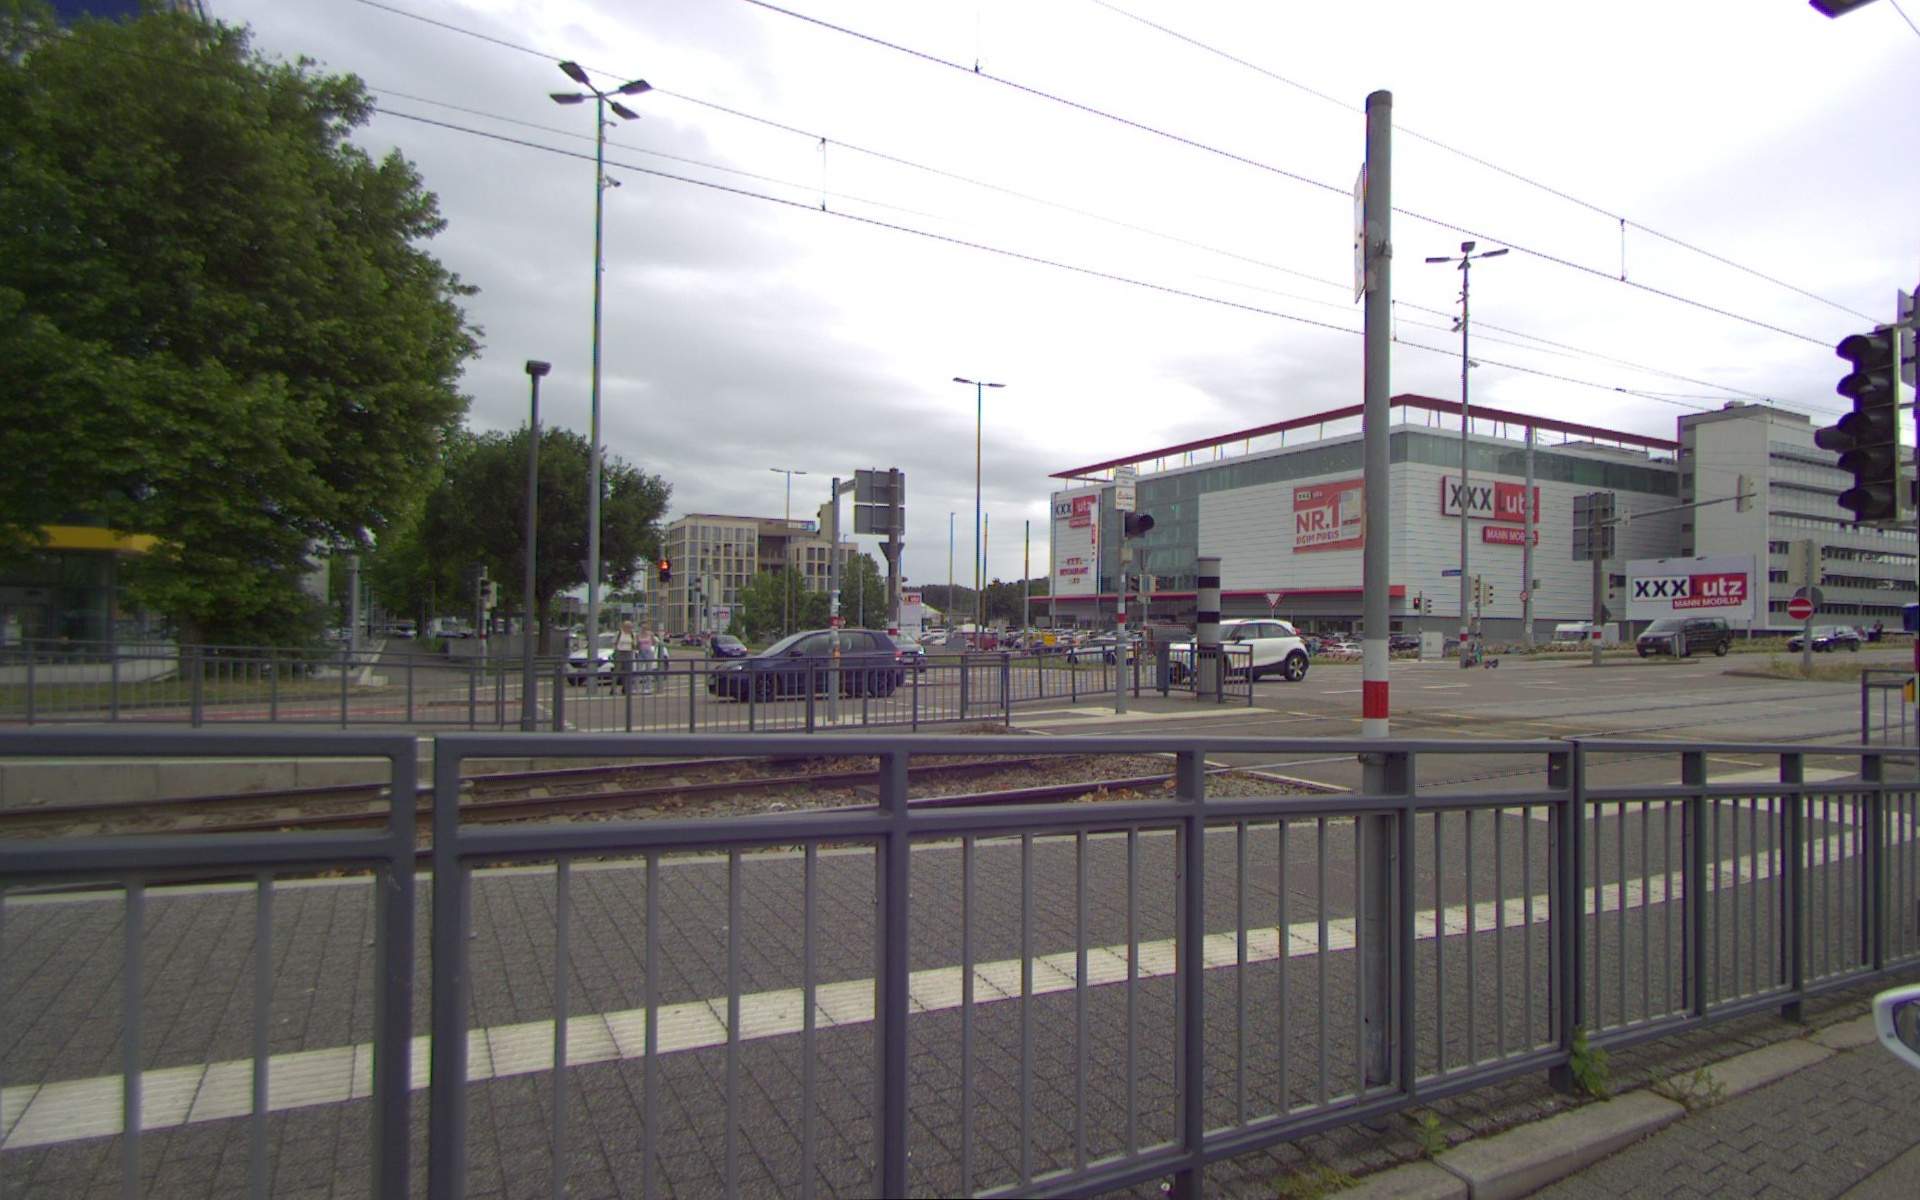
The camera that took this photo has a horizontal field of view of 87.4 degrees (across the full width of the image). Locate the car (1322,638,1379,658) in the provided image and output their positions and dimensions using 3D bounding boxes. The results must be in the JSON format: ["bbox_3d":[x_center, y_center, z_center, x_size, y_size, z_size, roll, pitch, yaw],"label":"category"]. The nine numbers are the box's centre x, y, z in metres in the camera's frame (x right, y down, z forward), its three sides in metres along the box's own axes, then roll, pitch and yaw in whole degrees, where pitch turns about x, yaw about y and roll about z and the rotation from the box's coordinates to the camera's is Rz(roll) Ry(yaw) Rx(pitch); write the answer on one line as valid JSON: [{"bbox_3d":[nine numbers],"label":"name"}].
[{"bbox_3d":[29.802,3.655,76.592,4.155,1.495,1.734,1,-2,-26],"label":"car"}]

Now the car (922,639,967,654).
[{"bbox_3d":[-1.595,4.795,104.196,4.331,1.480,1.948,2,-2,-26],"label":"car"}]

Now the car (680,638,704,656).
[{"bbox_3d":[-31.504,5.514,118.164,1.974,2.040,3.973,0,-1,-27],"label":"car"}]

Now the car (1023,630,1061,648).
[{"bbox_3d":[8.748,4.153,107.262,3.699,1.791,1.722,2,0,-26],"label":"car"}]

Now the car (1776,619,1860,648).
[{"bbox_3d":[46.403,1.813,54.291,4.265,1.483,1.956,1,-1,-26],"label":"car"}]

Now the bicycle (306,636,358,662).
[{"bbox_3d":[-30.038,2.347,48.071,1.998,1.172,0.589,4,-3,-30],"label":"bicycle"}]

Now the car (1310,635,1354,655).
[{"bbox_3d":[36.033,4.360,97.334,3.946,1.842,1.810,1,-2,-26],"label":"car"}]

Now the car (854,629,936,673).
[{"bbox_3d":[-2.465,1.869,37.465,1.627,1.435,3.682,2,0,-29],"label":"car"}]

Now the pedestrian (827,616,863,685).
[{"bbox_3d":[-3.105,1.353,27.005,0.657,1.787,0.682,-2,-4,-31],"label":"pedestrian"}]

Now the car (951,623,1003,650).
[{"bbox_3d":[1.733,3.657,100.792,4.676,2.614,2.156,2,0,-26],"label":"car"}]

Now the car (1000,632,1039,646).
[{"bbox_3d":[6.599,4.339,111.421,3.951,1.554,1.875,2,-2,-29],"label":"car"}]

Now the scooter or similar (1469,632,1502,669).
[{"bbox_3d":[18.794,1.802,35.912,1.097,1.272,0.320,0,-2,-15],"label":"scooter or similar"}]

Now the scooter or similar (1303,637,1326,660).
[{"bbox_3d":[19.315,2.633,54.741,1.143,1.249,0.346,-1,-4,24],"label":"scooter or similar"}]

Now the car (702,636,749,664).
[{"bbox_3d":[-13.352,2.828,57.160,1.588,1.463,4.114,-1,-2,-28],"label":"car"}]

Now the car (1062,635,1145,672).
[{"bbox_3d":[7.863,2.913,55.189,4.122,1.775,1.988,2,0,44],"label":"car"}]

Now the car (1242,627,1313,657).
[{"bbox_3d":[24.328,3.191,76.987,4.980,2.193,2.111,1,-2,-23],"label":"car"}]

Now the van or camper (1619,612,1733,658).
[{"bbox_3d":[34.842,1.711,48.892,4.678,2.039,2.116,-1,-3,-19],"label":"van or camper"}]

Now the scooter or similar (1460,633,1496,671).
[{"bbox_3d":[17.939,1.796,34.805,1.001,1.272,0.463,0,-3,-15],"label":"scooter or similar"}]

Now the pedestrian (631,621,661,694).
[{"bbox_3d":[-7.581,1.379,24.260,0.665,1.734,0.763,1,-2,-18],"label":"pedestrian"}]

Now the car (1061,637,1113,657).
[{"bbox_3d":[10.465,3.880,82.889,3.943,1.665,1.805,1,-2,-23],"label":"car"}]

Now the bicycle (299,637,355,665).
[{"bbox_3d":[-28.298,2.276,44.906,2.009,1.172,0.586,5,-4,-44],"label":"bicycle"}]

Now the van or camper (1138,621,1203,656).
[{"bbox_3d":[18.219,3.362,87.042,5.315,3.023,1.983,1,-2,-20],"label":"van or camper"}]

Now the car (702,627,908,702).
[{"bbox_3d":[-3.226,1.311,20.984,3.948,1.437,1.716,1,-3,-27],"label":"car"}]

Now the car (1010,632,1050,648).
[{"bbox_3d":[7.632,4.371,109.249,3.948,1.617,1.867,2,0,-27],"label":"car"}]

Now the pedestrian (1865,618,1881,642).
[{"bbox_3d":[65.701,2.138,72.294,0.553,1.711,0.679,2,0,-26],"label":"pedestrian"}]

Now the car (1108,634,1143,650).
[{"bbox_3d":[20.019,5.107,121.251,3.950,1.844,1.774,2,-3,-28],"label":"car"}]

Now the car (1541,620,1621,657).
[{"bbox_3d":[53.882,3.335,87.148,6.861,3.029,2.750,2,0,-27],"label":"car"}]

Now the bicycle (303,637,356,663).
[{"bbox_3d":[-29.513,2.341,47.038,1.998,1.172,0.589,4,-3,-30],"label":"bicycle"}]

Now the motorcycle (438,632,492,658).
[{"bbox_3d":[-27.508,2.517,55.856,2.481,1.373,0.791,5,-4,-40],"label":"motorcycle"}]

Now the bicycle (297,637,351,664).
[{"bbox_3d":[-29.086,2.311,45.993,1.998,1.172,0.589,4,-3,-30],"label":"bicycle"}]

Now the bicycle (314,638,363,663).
[{"bbox_3d":[-31.230,2.548,50.501,2.007,1.172,0.586,4,-3,-41],"label":"bicycle"}]

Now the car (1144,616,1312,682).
[{"bbox_3d":[7.014,1.305,26.266,4.089,1.606,1.786,2,-4,-27],"label":"car"}]

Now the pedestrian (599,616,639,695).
[{"bbox_3d":[-8.050,1.307,23.717,0.669,1.821,0.758,2,-4,-37],"label":"pedestrian"}]

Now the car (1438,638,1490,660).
[{"bbox_3d":[39.822,3.854,79.345,3.954,1.687,1.871,2,-2,-31],"label":"car"}]

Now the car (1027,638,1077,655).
[{"bbox_3d":[8.002,4.052,87.153,3.948,1.474,1.802,2,-3,-27],"label":"car"}]

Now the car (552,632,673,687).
[{"bbox_3d":[-11.014,1.873,32.192,1.855,1.606,4.414,1,-2,7],"label":"car"}]
